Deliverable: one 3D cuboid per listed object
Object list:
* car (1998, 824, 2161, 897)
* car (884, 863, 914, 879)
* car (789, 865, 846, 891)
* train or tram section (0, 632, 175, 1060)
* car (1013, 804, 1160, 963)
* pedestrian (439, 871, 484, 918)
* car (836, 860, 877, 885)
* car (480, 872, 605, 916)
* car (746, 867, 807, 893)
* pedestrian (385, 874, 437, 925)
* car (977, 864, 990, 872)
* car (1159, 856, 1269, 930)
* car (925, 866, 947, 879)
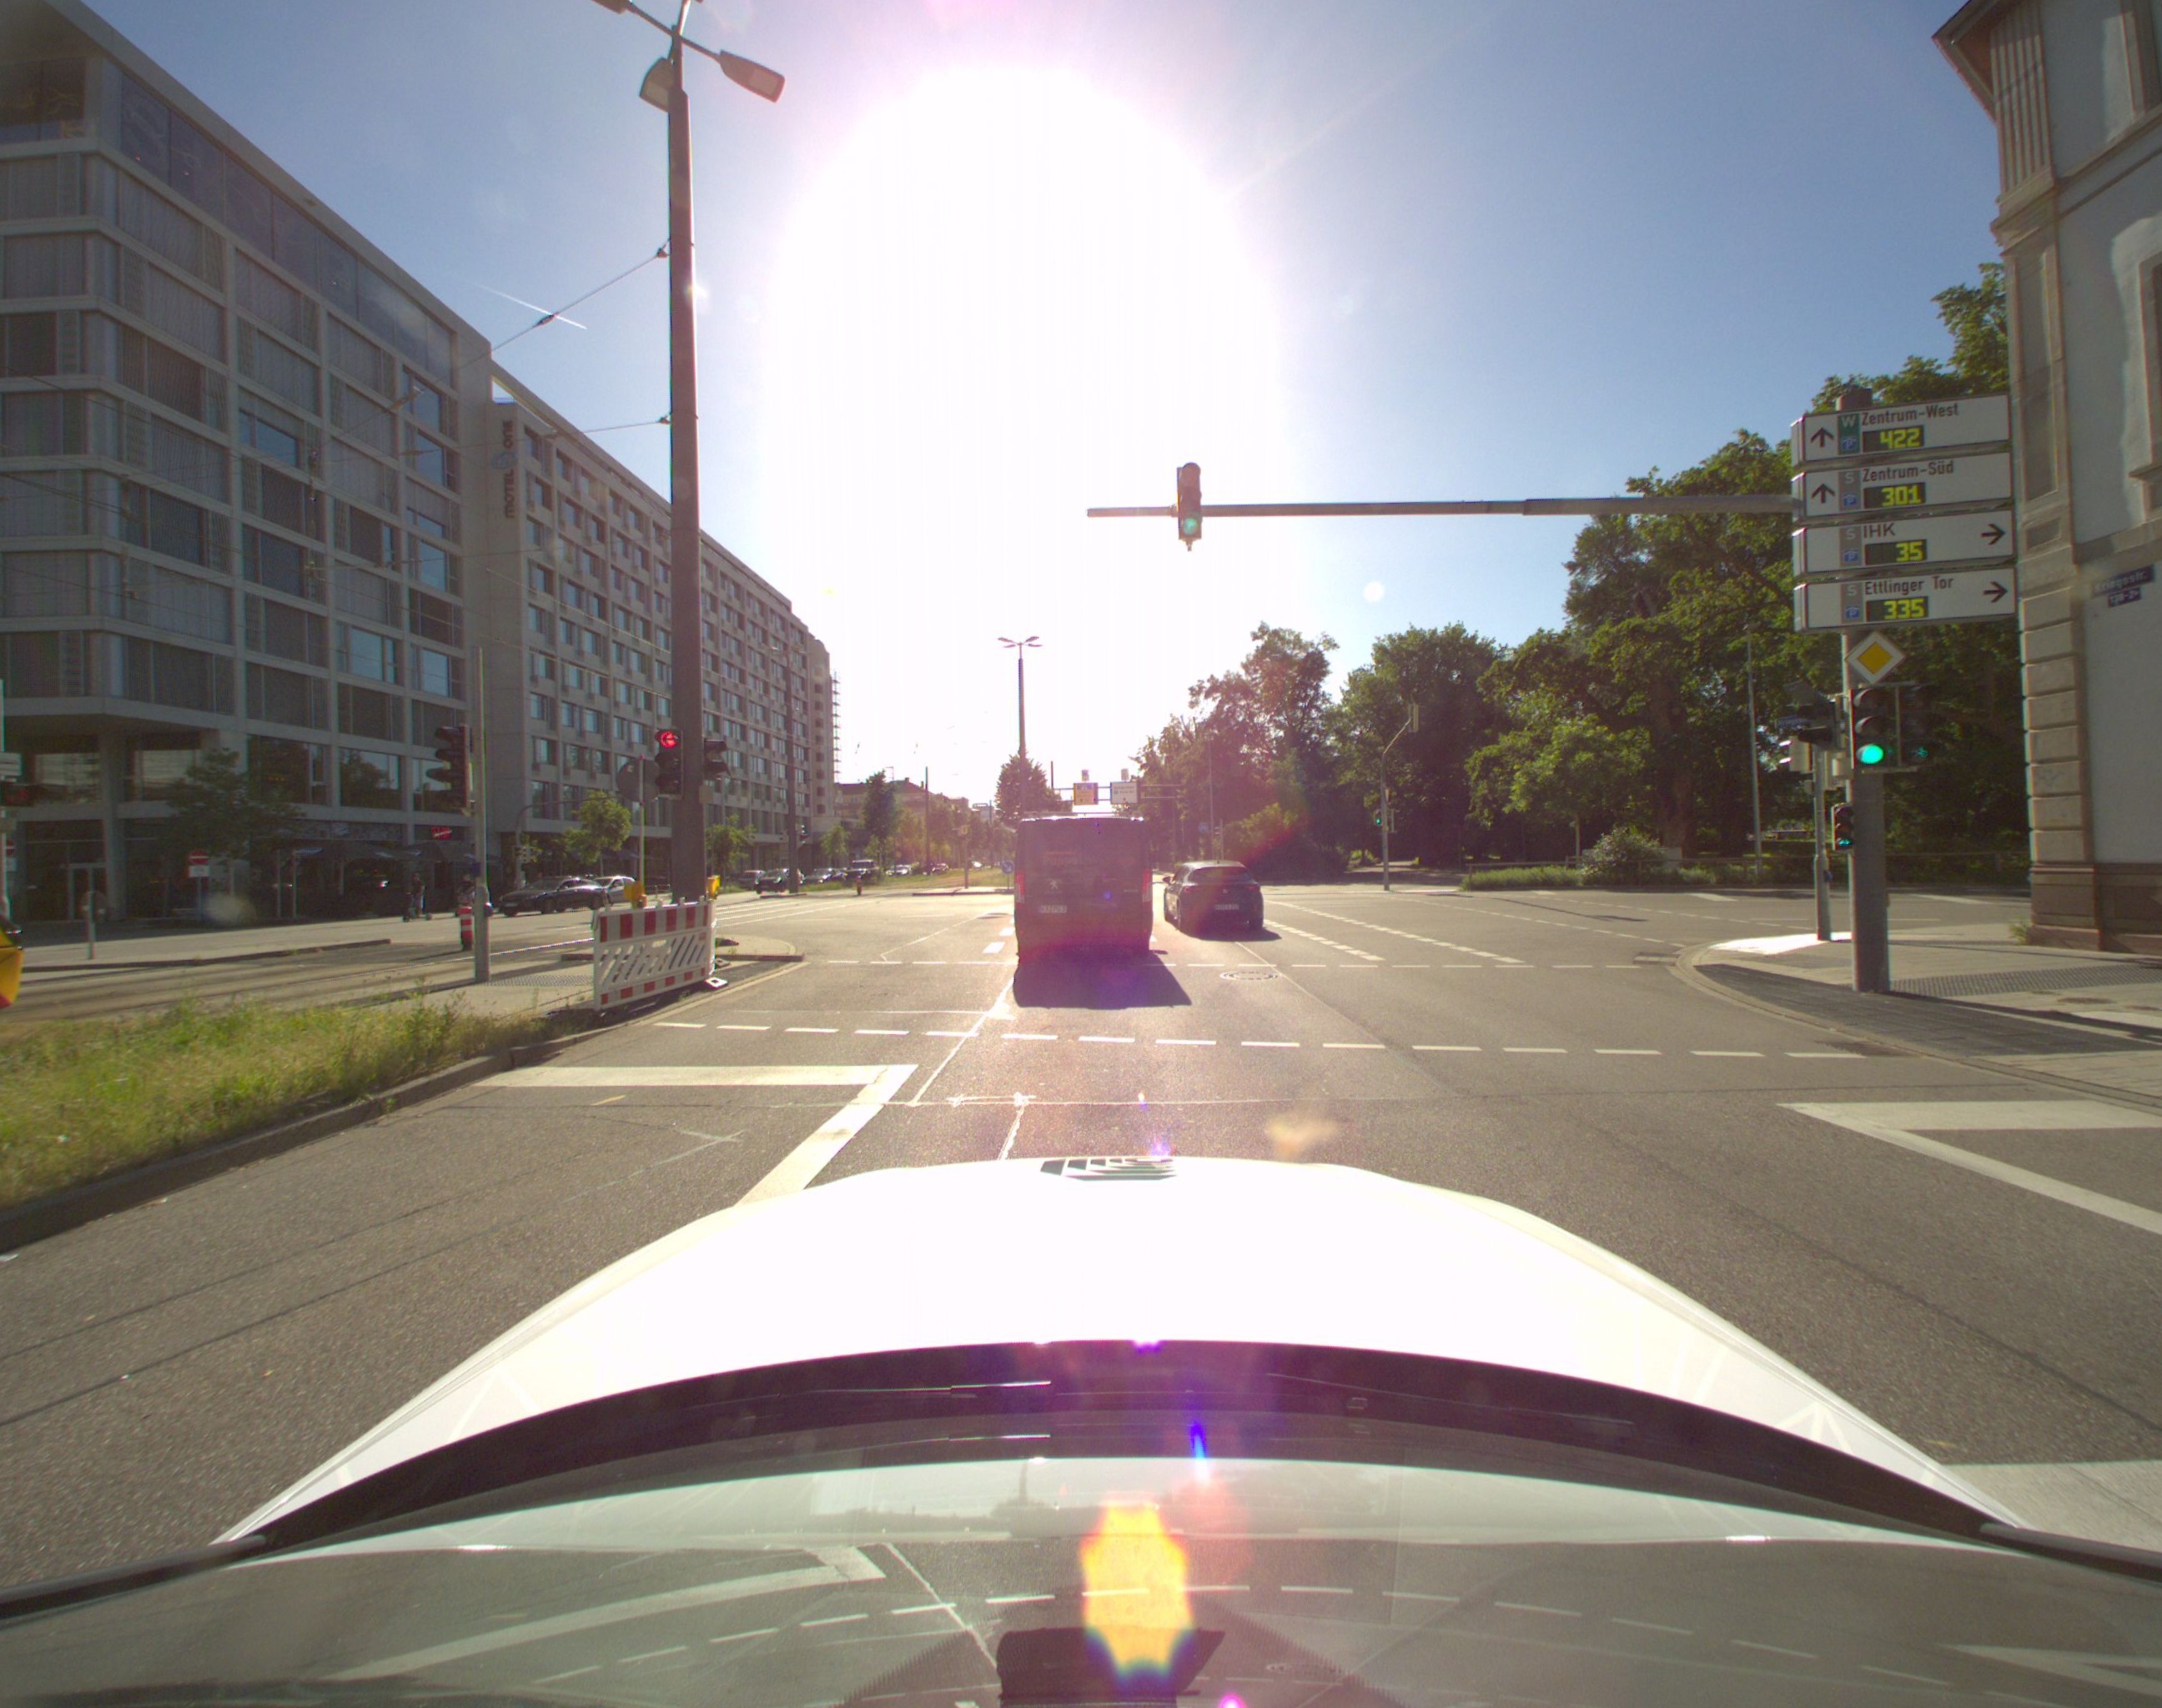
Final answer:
[{"bbox_3d":[23.372,0.115,17.878,3.951,1.481,1.743,-1,3,24],"label":"car"},{"bbox_3d":[-18.831,1.736,84.252,1.985,1.552,4.003,-1,0,3],"label":"car"},{"bbox_3d":[-17.070,1.543,52.938,1.982,1.552,4.009,-1,0,8],"label":"car"},{"bbox_3d":[-10.584,-0.083,2.470,1.985,3.669,11.695,-1,0,4],"label":"train or tram section"},{"bbox_3d":[0.103,0.436,13.624,2.075,2.249,4.000,-1,0,1],"label":"car"},{"bbox_3d":[-27.463,1.778,36.128,1.067,2.014,1.264,-1,-1,-4],"label":"pedestrian"},{"bbox_3d":[-16.858,1.378,61.371,1.989,1.819,4.281,-1,0,-3],"label":"car"},{"bbox_3d":[-21.606,1.568,32.886,1.981,1.552,4.011,-1,0,10],"label":"car"},{"bbox_3d":[-19.592,1.625,52.537,1.982,1.552,4.009,-1,0,8],"label":"car"},{"bbox_3d":[-27.436,1.833,33.376,1.067,2.014,1.264,-1,-1,-4],"label":"pedestrian"},{"bbox_3d":[-19.210,2.712,160.139,1.986,1.552,4.002,-1,0,2],"label":"car"},{"bbox_3d":[2.846,0.787,18.194,1.758,1.462,3.998,-1,0,-1],"label":"car"},{"bbox_3d":[-18.696,2.378,105.113,1.985,1.552,4.003,-1,0,3],"label":"car"}]
